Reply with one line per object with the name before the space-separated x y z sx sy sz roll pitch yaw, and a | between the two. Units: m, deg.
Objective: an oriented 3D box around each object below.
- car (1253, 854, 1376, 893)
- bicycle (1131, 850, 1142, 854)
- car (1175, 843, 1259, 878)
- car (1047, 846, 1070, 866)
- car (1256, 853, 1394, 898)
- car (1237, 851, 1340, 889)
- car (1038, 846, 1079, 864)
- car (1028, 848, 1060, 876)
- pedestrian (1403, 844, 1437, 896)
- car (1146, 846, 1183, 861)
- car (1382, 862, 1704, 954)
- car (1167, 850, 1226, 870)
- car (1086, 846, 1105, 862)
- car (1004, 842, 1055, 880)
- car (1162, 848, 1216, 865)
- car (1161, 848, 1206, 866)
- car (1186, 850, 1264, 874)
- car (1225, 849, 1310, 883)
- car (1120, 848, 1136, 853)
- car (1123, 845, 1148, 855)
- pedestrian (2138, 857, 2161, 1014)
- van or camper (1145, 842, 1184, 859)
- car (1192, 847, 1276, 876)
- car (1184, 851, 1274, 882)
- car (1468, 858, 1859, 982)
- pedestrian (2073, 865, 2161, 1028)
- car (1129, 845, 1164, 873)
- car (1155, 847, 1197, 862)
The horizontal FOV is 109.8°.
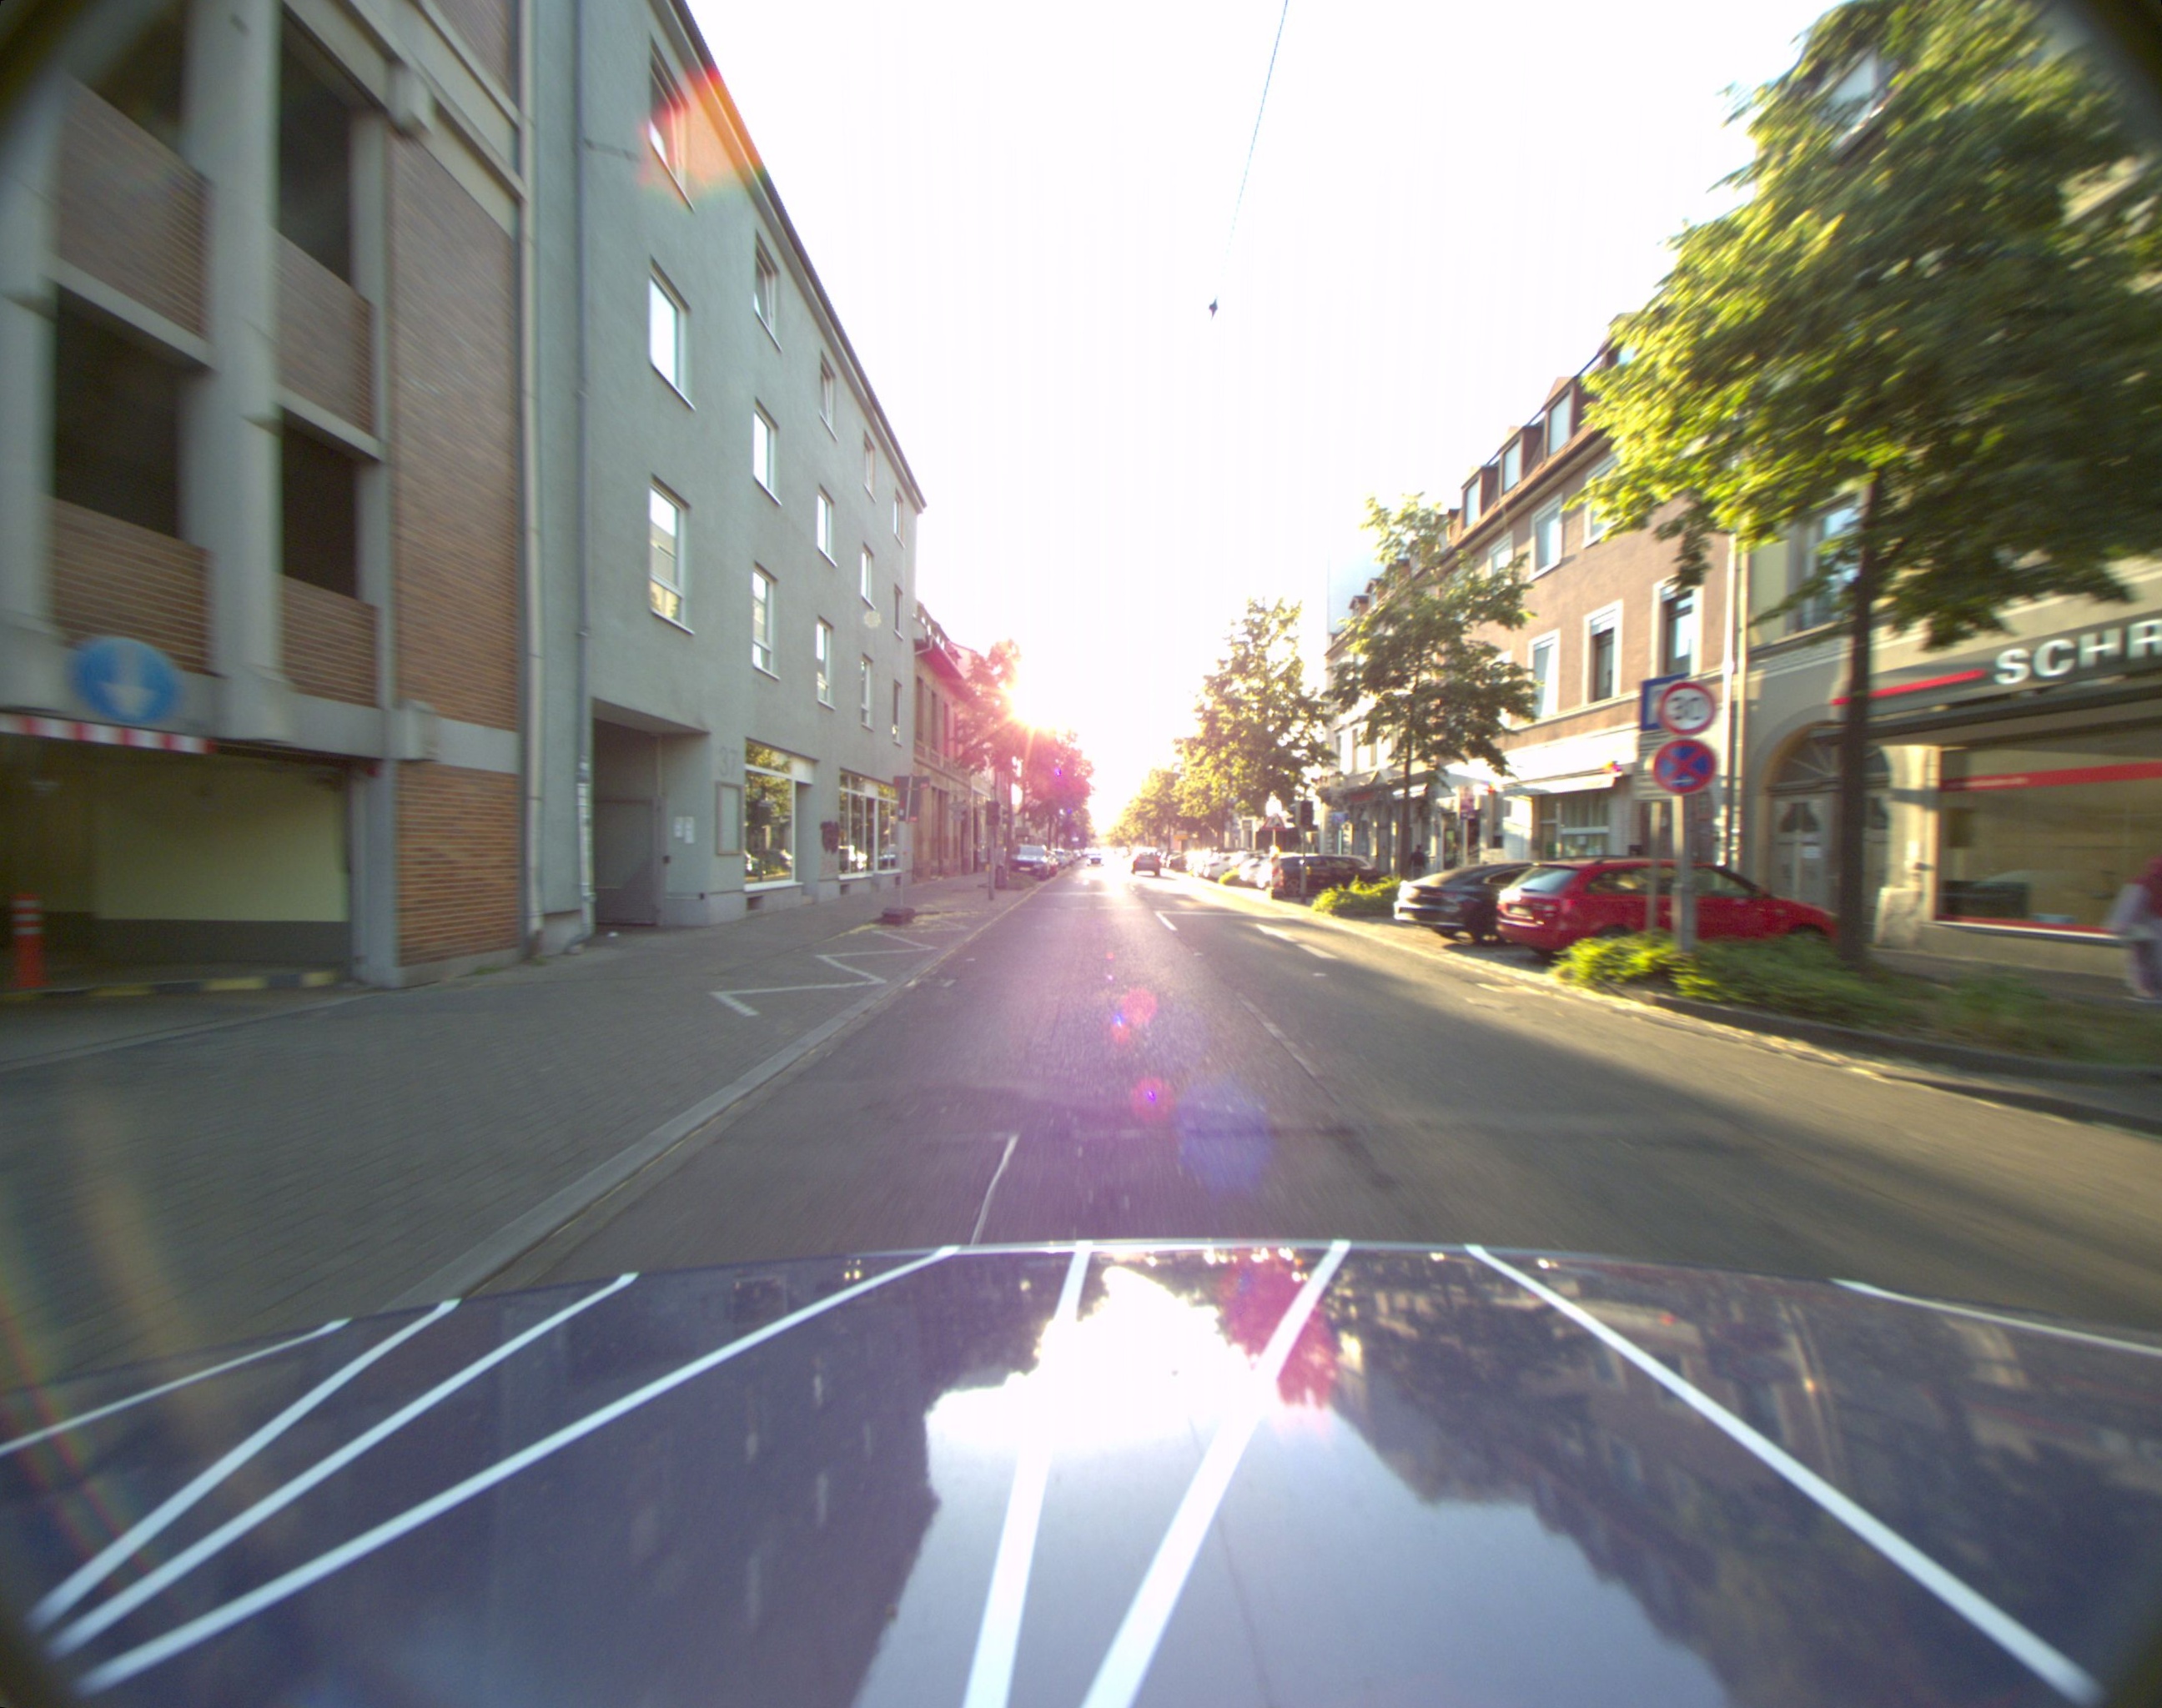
car | 8.709 0.692 28.577 4.107 1.395 1.843 0 1 3
bicycle | 9.042 -0.319 124.265 1.796 0.761 0.408 0 1 13
car | 7.261 0.345 40.825 4.160 1.763 1.889 -1 1 -1
car | -1.790 0.183 62.606 1.695 1.534 3.552 2 1 1
car | 8.276 0.705 26.020 4.117 1.395 1.883 -1 1 -1
car | 8.509 0.632 31.321 3.748 1.435 1.805 -1 1 -1
car | -2.097 0.125 71.017 1.661 1.574 3.632 2 0 42
car | -2.167 0.446 45.380 1.734 1.479 3.899 2 1 -1
pedestrian | 11.677 0.544 26.182 0.774 1.712 0.875 -1 3 1
car | 9.456 -0.067 86.339 4.192 1.659 1.732 0 2 3
car | 7.949 0.900 13.397 4.582 1.399 1.821 -1 1 0
car | 8.852 0.461 58.355 4.285 1.475 1.744 0 1 1
car | 1.466 -0.025 75.743 1.825 1.469 4.155 0 1 2
car | -2.514 0.320 38.423 2.043 1.727 4.711 2 1 2
car | 9.198 0.212 64.901 4.286 1.475 1.744 0 1 -1
car | 9.321 0.260 69.193 3.876 1.558 1.744 0 1 -1
car | 8.942 0.481 47.489 4.559 1.475 1.744 0 1 1
car | 8.721 0.537 35.654 3.565 1.493 1.715 -1 1 0
car | 12.243 -0.888 199.665 4.151 1.469 1.827 0 1 2
car | 10.067 -0.702 140.485 4.439 1.833 1.814 -1 1 0
pedestrian | 11.434 0.843 7.478 0.774 1.599 0.875 -1 2 1
van or camper | 9.786 -0.441 89.163 4.469 1.945 1.789 0 1 3
car | 8.640 0.424 43.150 4.417 1.586 1.890 -1 0 0
car | 7.358 0.604 38.026 4.160 1.413 1.766 -1 1 -1
car | 8.005 0.862 10.774 4.082 1.528 1.884 -1 1 1
pedestrian | 10.743 0.896 7.482 0.736 1.519 0.875 -1 2 1
car | 4.139 0.301 48.565 1.866 1.682 4.461 1 0 1
car | 9.295 0.085 74.634 3.876 1.448 1.744 0 1 -1
